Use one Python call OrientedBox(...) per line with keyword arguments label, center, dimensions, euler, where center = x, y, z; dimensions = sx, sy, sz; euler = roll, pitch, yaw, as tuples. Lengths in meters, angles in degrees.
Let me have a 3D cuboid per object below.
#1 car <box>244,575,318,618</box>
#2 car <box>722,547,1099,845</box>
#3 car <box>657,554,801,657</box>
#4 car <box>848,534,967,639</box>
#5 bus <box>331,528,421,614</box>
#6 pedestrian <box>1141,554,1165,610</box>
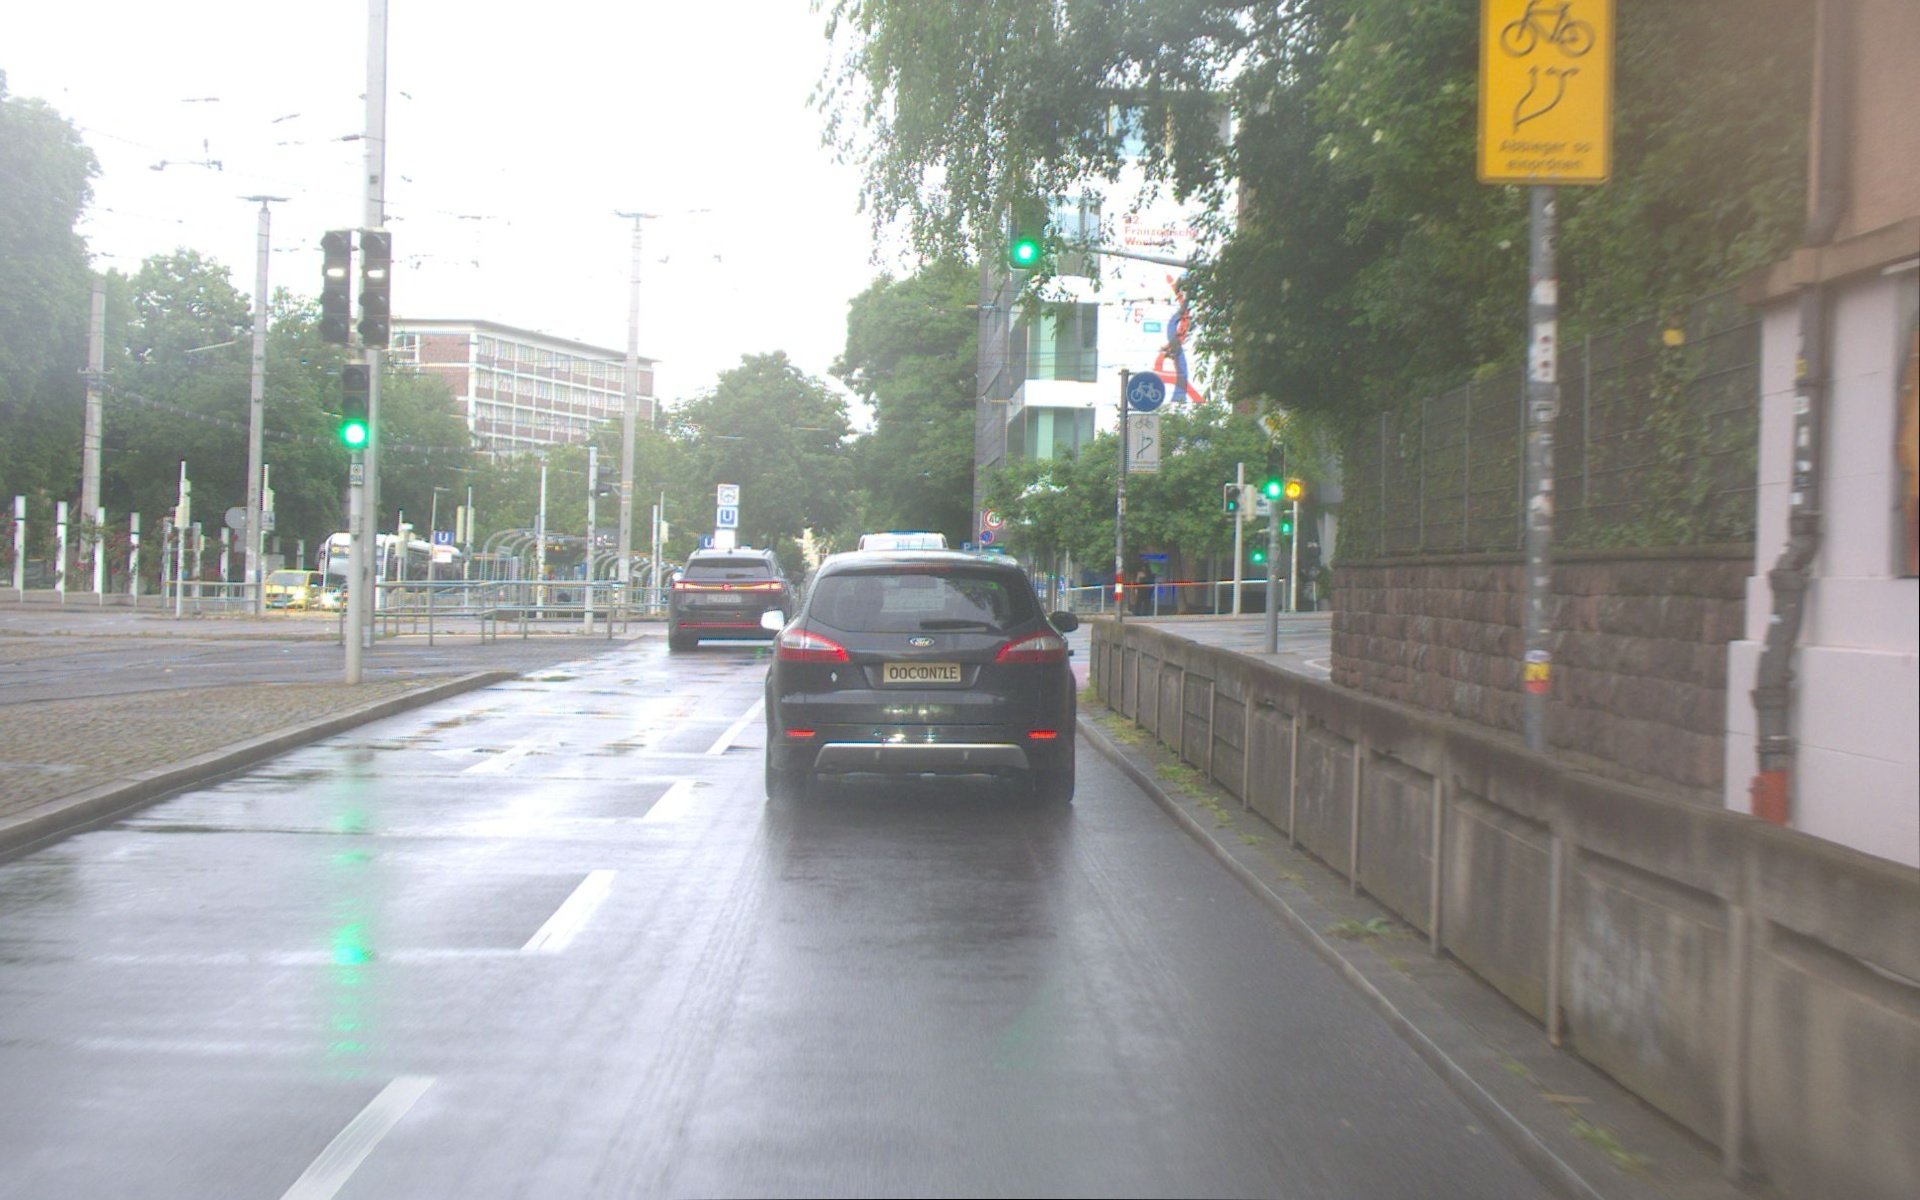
OrientedBox(label="car", center=(-26.530, -0.155, 134.471), dimensions=(1.993, 1.640, 4.537), euler=(0, 1, 0))
OrientedBox(label="car", center=(-0.303, 0.498, 21.166), dimensions=(2.036, 1.579, 4.392), euler=(2, 1, -1))
OrientedBox(label="car", center=(-3.545, 0.050, 52.598), dimensions=(2.098, 1.500, 4.732), euler=(0, 1, -4))
OrientedBox(label="car", center=(-0.938, -0.285, 64.135), dimensions=(2.036, 1.833, 4.392), euler=(2, 1, 1))
OrientedBox(label="bus", center=(-23.514, -1.181, 139.012), dimensions=(3.076, 3.289, 12.526), euler=(0, 1, -7))
OrientedBox(label="pedestrian", center=(5.431, -0.513, 96.629), dimensions=(0.542, 1.558, 0.521), euler=(0, 0, 20))
